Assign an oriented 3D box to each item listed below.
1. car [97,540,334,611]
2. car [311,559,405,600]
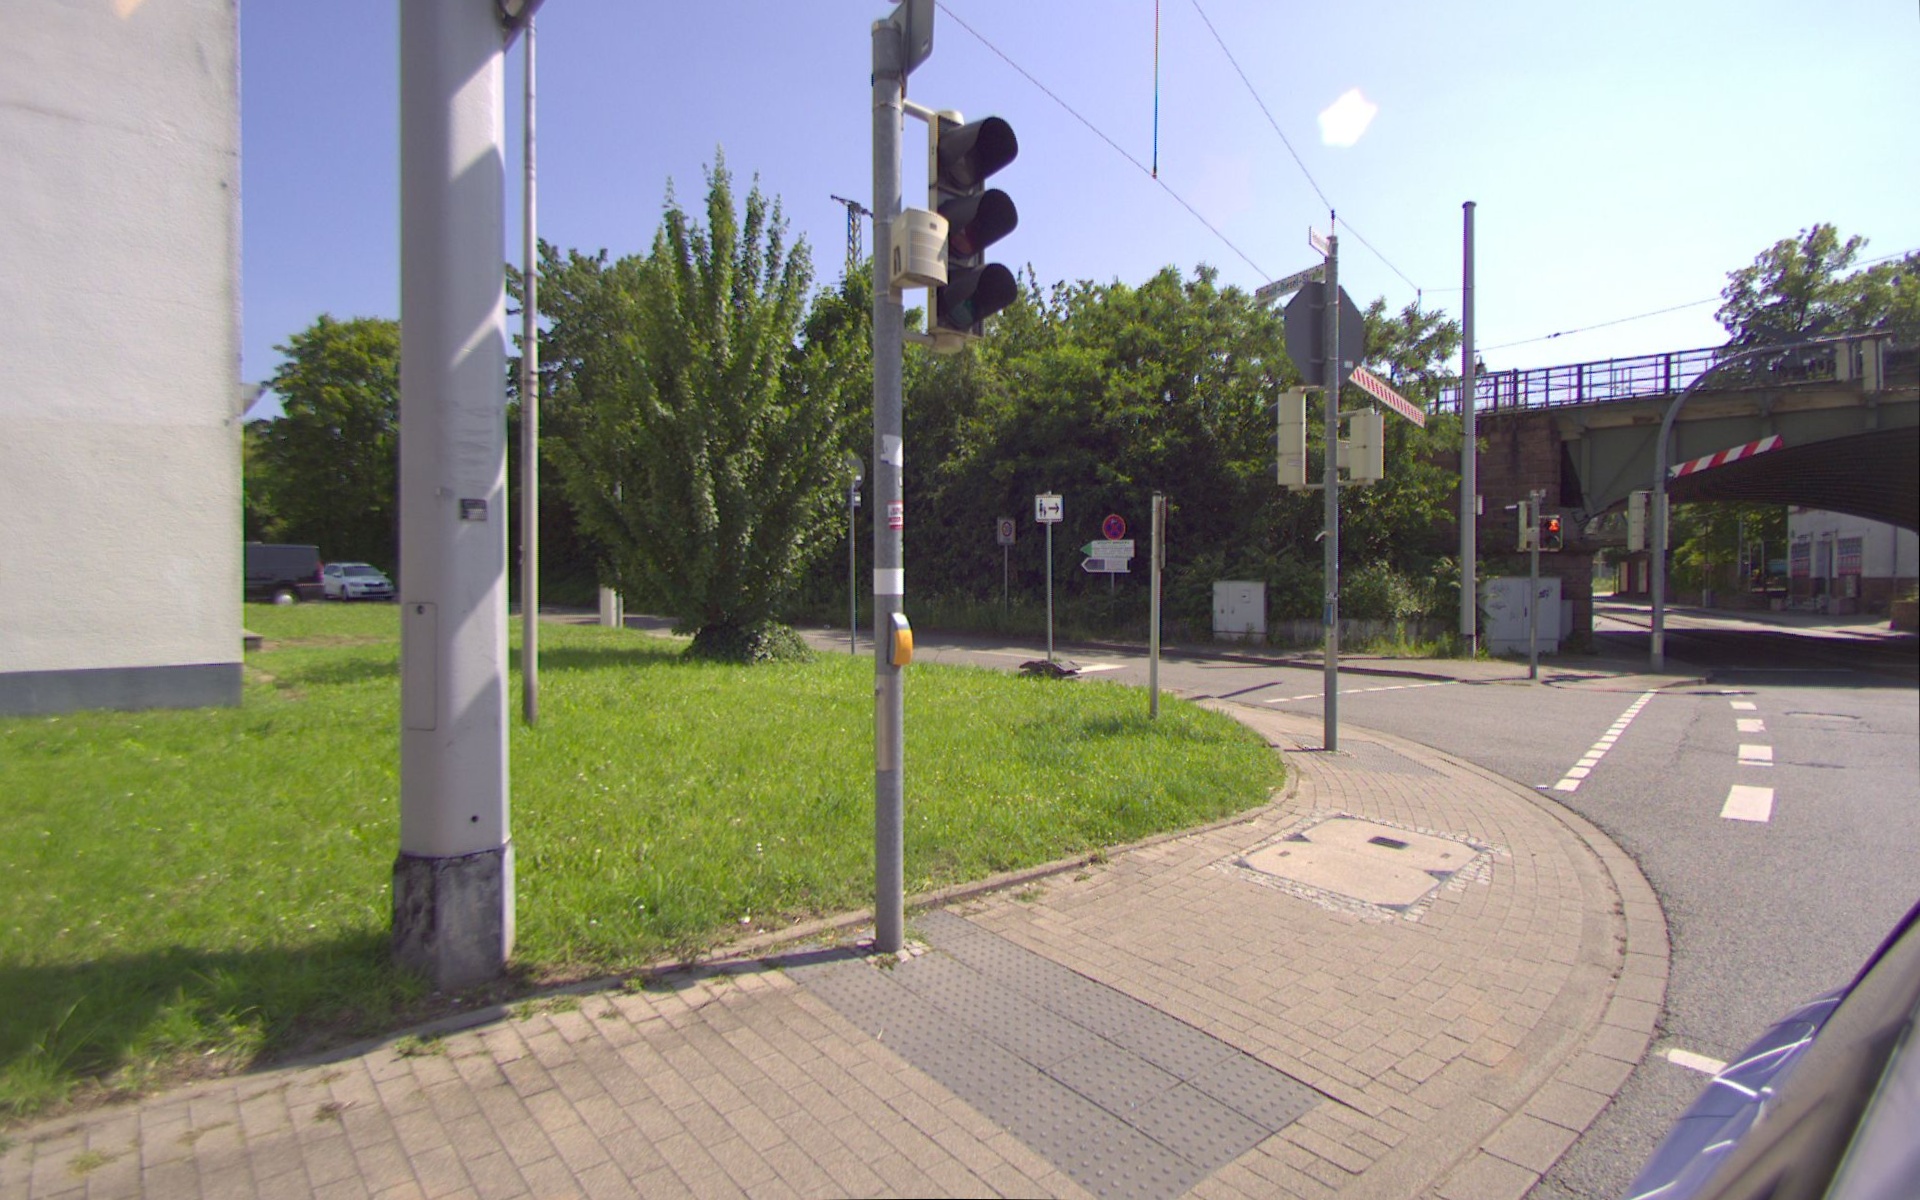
[{"bbox_3d":[-21.196,-0.714,29.028,1.991,1.838,5.189,1,2,40],"label":"car"},{"bbox_3d":[-24.573,-0.838,41.264,4.523,1.529,2.062,3,2,42],"label":"car"}]
